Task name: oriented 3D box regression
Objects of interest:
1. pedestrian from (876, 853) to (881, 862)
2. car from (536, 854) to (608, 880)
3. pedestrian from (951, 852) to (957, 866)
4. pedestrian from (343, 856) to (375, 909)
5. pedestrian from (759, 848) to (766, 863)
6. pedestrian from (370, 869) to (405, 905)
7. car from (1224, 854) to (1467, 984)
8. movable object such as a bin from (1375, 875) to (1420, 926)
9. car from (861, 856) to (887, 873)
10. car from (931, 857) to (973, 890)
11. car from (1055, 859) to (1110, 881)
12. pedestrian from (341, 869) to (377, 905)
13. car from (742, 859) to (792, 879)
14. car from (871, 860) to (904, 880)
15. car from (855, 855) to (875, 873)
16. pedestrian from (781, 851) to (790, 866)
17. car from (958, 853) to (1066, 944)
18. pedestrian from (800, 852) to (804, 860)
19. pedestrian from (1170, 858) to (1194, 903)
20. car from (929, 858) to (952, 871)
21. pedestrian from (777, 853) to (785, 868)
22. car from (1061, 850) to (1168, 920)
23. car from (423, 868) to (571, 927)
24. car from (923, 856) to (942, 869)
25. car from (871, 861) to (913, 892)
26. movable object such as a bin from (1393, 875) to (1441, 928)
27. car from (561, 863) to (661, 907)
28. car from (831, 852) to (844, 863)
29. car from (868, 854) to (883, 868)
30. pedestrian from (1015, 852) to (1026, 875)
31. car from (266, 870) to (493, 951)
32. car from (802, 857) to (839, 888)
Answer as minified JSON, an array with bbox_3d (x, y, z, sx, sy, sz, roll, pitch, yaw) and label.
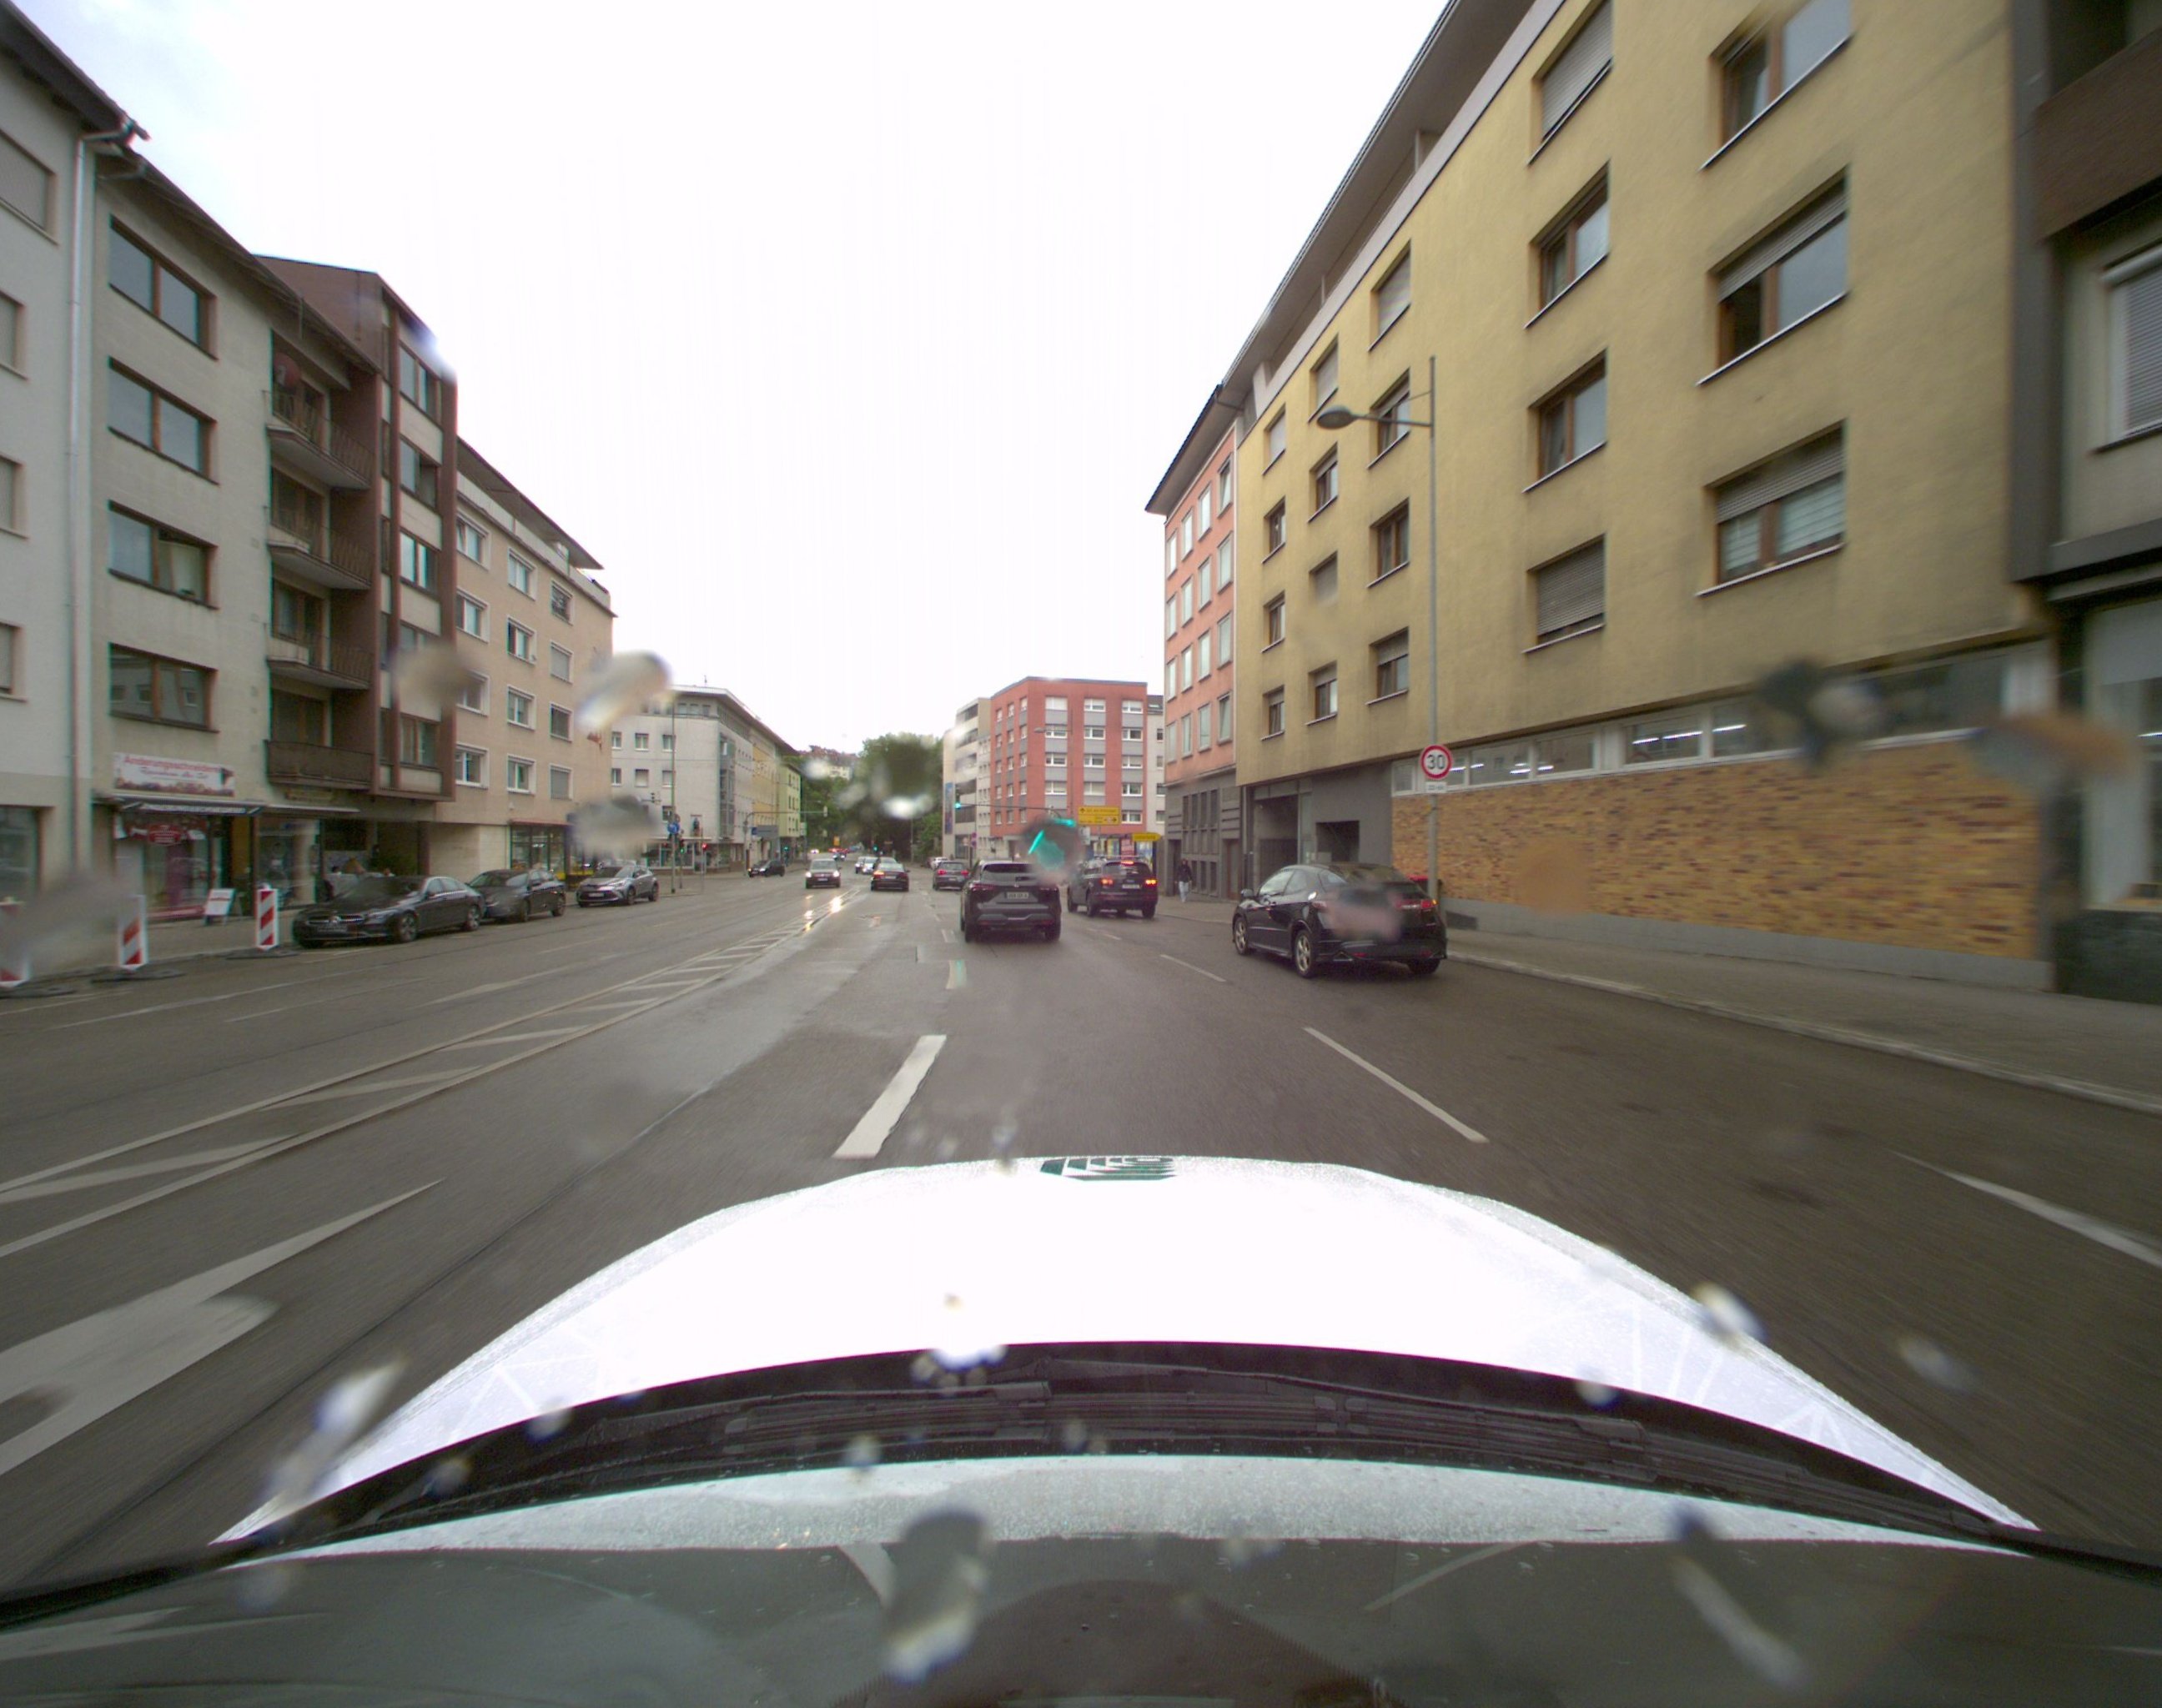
[{"bbox_3d":[-44.164,0.779,177.632,0.712,1.791,0.673,2,0,29],"label":"pedestrian"},{"bbox_3d":[-36.505,0.923,58.492,4.000,1.706,1.676,2,0,-20],"label":"car"},{"bbox_3d":[-16.534,0.665,106.018,0.615,1.737,0.675,-2,0,-27],"label":"pedestrian"},{"bbox_3d":[-22.276,0.871,25.135,0.545,1.583,0.664,1,-1,-26],"label":"pedestrian"},{"bbox_3d":[-37.485,0.163,95.861,0.801,1.688,0.812,0,0,-20],"label":"pedestrian"},{"bbox_3d":[-22.969,1.088,26.982,0.667,1.148,0.597,0,-1,15],"label":"pedestrian"},{"bbox_3d":[3.480,0.767,11.582,1.782,1.497,4.047,0,0,-6],"label":"car"},{"bbox_3d":[6.940,1.002,17.870,0.681,1.077,0.665,0,-1,-12],"label":"movable object such as a bin"},{"bbox_3d":[-18.740,0.942,73.508,1.940,1.527,4.108,0,-1,-19],"label":"car"},{"bbox_3d":[-7.198,1.057,45.168,1.948,1.685,3.982,-2,0,-13],"label":"car"},{"bbox_3d":[0.126,1.200,60.684,1.974,1.486,4.025,2,0,38],"label":"car"},{"bbox_3d":[-23.312,1.059,26.294,0.608,1.148,0.629,1,-1,-12],"label":"pedestrian"},{"bbox_3d":[-26.642,1.281,69.206,1.678,1.626,4.021,-1,0,21],"label":"car"},{"bbox_3d":[-16.333,1.333,68.710,1.865,1.553,4.191,0,0,-26],"label":"car"},{"bbox_3d":[-20.736,0.958,78.305,1.824,1.608,4.408,0,-1,-15],"label":"car"},{"bbox_3d":[-36.846,0.534,101.609,0.866,1.788,0.871,3,-1,-14],"label":"pedestrian"},{"bbox_3d":[-1.548,0.825,16.847,1.895,1.629,3.986,0,-1,-10],"label":"car"},{"bbox_3d":[-58.033,0.410,169.492,0.670,1.791,0.715,2,0,-26],"label":"pedestrian"},{"bbox_3d":[4.038,1.047,32.688,0.672,1.787,1.092,1,0,-9],"label":"pedestrian"},{"bbox_3d":[-16.711,1.285,96.931,1.781,1.401,4.546,-2,1,-22],"label":"car"},{"bbox_3d":[-33.826,0.723,91.682,0.687,1.581,0.649,3,-1,-12],"label":"pedestrian"},{"bbox_3d":[0.884,0.877,24.957,2.023,1.869,4.878,-2,0,-13],"label":"car"},{"bbox_3d":[-16.846,1.176,23.806,1.997,1.477,4.496,-1,0,-15],"label":"car"},{"bbox_3d":[-18.816,1.046,103.038,1.720,1.442,4.056,-2,1,-19],"label":"car"},{"bbox_3d":[-9.888,1.154,42.389,1.997,1.388,4.477,2,0,-15],"label":"car"},{"bbox_3d":[7.082,0.982,17.201,0.681,1.077,0.665,0,-1,-12],"label":"movable object such as a bin"},{"bbox_3d":[-18.115,1.136,31.650,1.908,1.554,4.614,-1,0,-10],"label":"car"},{"bbox_3d":[-43.411,0.647,145.374,1.996,1.860,3.981,2,0,-14],"label":"car"},{"bbox_3d":[-30.361,1.023,120.227,1.825,1.796,3.843,2,0,-17],"label":"car"},{"bbox_3d":[-5.753,0.865,77.721,0.826,2.158,0.766,2,0,-14],"label":"pedestrian"},{"bbox_3d":[-15.662,1.158,18.621,1.885,1.477,4.955,-1,0,-14],"label":"car"},{"bbox_3d":[-14.708,1.032,46.207,1.866,1.647,4.230,-1,0,-16],"label":"car"}]
